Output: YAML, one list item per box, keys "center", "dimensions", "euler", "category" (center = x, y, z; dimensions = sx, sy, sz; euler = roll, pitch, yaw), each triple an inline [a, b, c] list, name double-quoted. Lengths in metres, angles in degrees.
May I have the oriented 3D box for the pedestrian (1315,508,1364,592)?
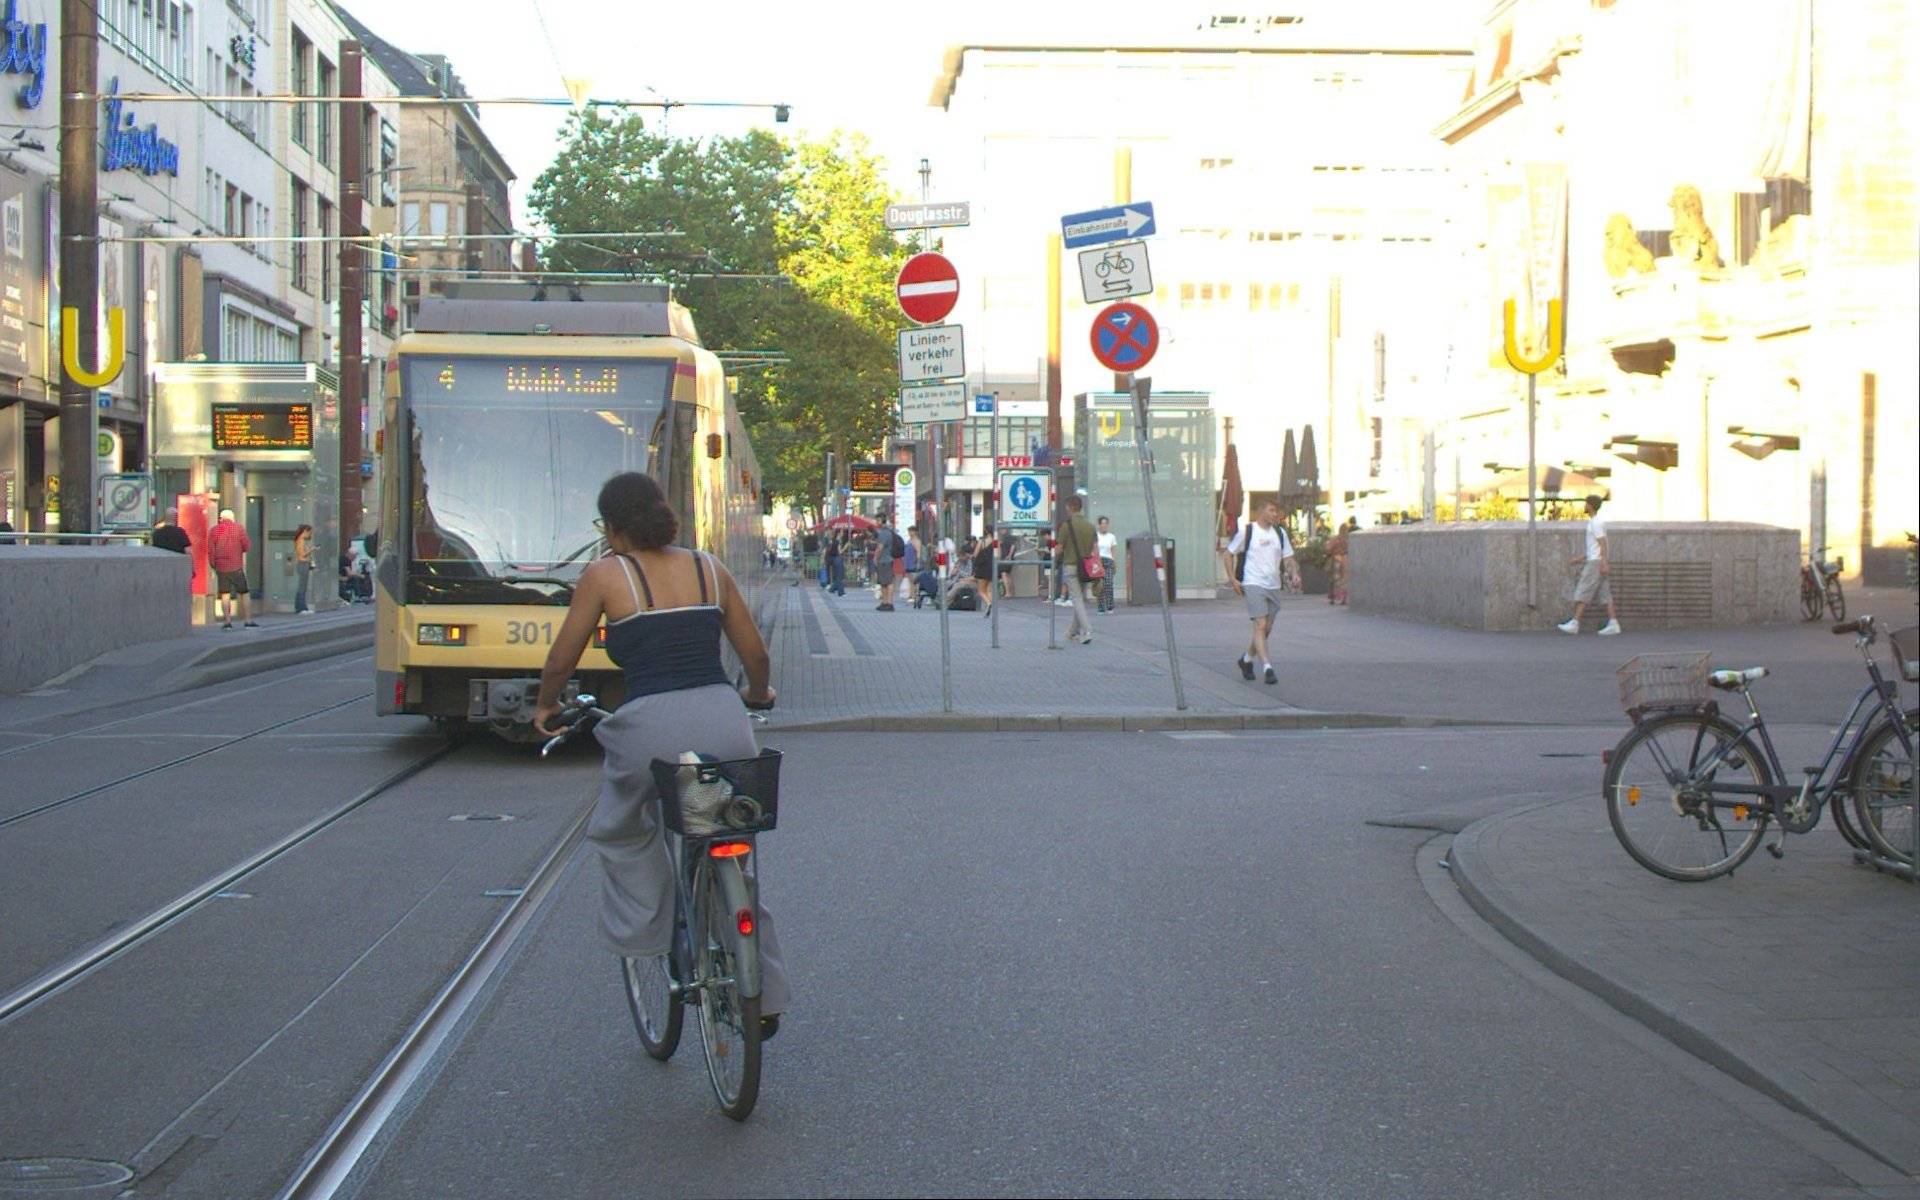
- center: [8.297, -1.089, 75.164]
  dimensions: [0.847, 1.817, 0.776]
  euler: [0, 1, -13]
  category: "pedestrian"

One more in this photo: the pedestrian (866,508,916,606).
- center: [-1.292, -0.803, 64.467]
  dimensions: [0.733, 1.817, 0.820]
  euler: [0, 1, -17]
  category: "pedestrian"

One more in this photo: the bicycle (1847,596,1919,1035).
- center: [3.850, 0.630, 10.746]
  dimensions: [1.914, 1.328, 0.726]
  euler: [-2, 1, -7]
  category: "bicycle"

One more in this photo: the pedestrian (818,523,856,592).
- center: [-3.007, -1.041, 84.010]
  dimensions: [0.767, 1.655, 0.794]
  euler: [0, 1, 9]
  category: "pedestrian"

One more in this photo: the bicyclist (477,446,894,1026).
- center: [-0.770, 0.354, 9.394]
  dimensions: [0.996, 1.497, 0.857]
  euler: [2, 1, -12]
  category: "bicyclist"

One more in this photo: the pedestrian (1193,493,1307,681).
- center: [2.919, -0.137, 34.691]
  dimensions: [1.013, 1.857, 1.043]
  euler: [1, 1, -1]
  category: "pedestrian"

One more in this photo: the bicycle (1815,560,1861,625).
- center: [12.124, -0.108, 47.493]
  dimensions: [0.315, 0.864, 1.000]
  euler: [-1, 1, -4]
  category: "bicycle"

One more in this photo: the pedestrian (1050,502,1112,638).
- center: [1.546, -0.378, 43.924]
  dimensions: [0.718, 1.719, 0.709]
  euler: [0, 0, -4]
  category: "pedestrian"

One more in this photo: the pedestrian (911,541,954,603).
- center: [-0.547, -0.552, 68.332]
  dimensions: [0.792, 1.217, 0.769]
  euler: [0, 1, -6]
  category: "pedestrian"

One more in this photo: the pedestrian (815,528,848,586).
- center: [-3.668, -1.226, 98.053]
  dimensions: [0.792, 1.655, 0.769]
  euler: [0, 1, 9]
  category: "pedestrian"

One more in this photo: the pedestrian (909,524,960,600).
- center: [-0.534, -0.804, 71.811]
  dimensions: [0.768, 1.573, 0.793]
  euler: [1, 1, 27]
  category: "pedestrian"

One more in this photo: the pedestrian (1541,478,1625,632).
- center: [8.215, -0.595, 45.366]
  dimensions: [0.914, 2.007, 0.773]
  euler: [1, 0, -1]
  category: "pedestrian"

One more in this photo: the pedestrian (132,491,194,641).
- center: [-10.291, -0.442, 44.422]
  dimensions: [0.713, 1.918, 0.709]
  euler: [0, 0, -7]
  category: "pedestrian"

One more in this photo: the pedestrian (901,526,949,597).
- center: [-0.777, -0.855, 75.917]
  dimensions: [0.768, 1.573, 0.793]
  euler: [1, 1, 27]
  category: "pedestrian"

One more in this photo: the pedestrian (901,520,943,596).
- center: [-0.828, -0.921, 75.729]
  dimensions: [0.792, 1.655, 0.769]
  euler: [0, 1, 9]
  category: "pedestrian"

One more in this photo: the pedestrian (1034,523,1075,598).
- center: [2.094, -0.879, 75.980]
  dimensions: [0.792, 1.655, 0.769]
  euler: [0, 1, 9]
  category: "pedestrian"

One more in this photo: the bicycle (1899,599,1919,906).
- center: [4.781, 0.581, 13.528]
  dimensions: [1.914, 1.218, 0.763]
  euler: [-2, 1, -7]
  category: "bicycle"

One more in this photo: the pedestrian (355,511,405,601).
- center: [-11.077, -0.834, 65.654]
  dimensions: [0.707, 1.719, 0.775]
  euler: [0, 0, -33]
  category: "pedestrian"

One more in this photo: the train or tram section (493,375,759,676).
- center: [-4.104, -0.973, 45.132]
  dimensions: [2.800, 3.308, 14.510]
  euler: [0, 1, -3]
  category: "train or tram section"

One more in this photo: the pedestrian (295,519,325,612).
- center: [-11.291, -0.598, 59.712]
  dimensions: [0.511, 1.612, 0.505]
  euler: [0, 0, -11]
  category: "pedestrian"

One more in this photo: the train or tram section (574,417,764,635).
- center: [-4.842, -1.279, 59.632]
  dimensions: [2.800, 3.308, 14.510]
  euler: [0, 1, -3]
  category: "train or tram section"

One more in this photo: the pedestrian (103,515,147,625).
- center: [-12.157, -0.437, 50.042]
  dimensions: [0.603, 1.583, 0.628]
  euler: [0, 0, -12]
  category: "pedestrian"

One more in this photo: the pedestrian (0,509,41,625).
- center: [-13.095, -0.450, 47.360]
  dimensions: [0.626, 1.583, 0.605]
  euler: [0, 0, -45]
  category: "pedestrian"

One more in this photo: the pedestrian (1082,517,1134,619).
- center: [2.685, -0.584, 62.381]
  dimensions: [0.773, 1.817, 0.940]
  euler: [-1, 1, -6]
  category: "pedestrian"

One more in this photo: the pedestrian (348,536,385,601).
- center: [-12.568, -0.660, 72.786]
  dimensions: [0.707, 1.374, 0.720]
  euler: [0, 0, -4]
  category: "pedestrian"

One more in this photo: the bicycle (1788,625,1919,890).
- center: [4.663, 0.663, 15.120]
  dimensions: [1.852, 1.105, 0.667]
  euler: [-1, 1, -5]
  category: "bicycle"

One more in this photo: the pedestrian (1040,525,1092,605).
- center: [2.234, -0.744, 72.557]
  dimensions: [0.767, 1.655, 0.794]
  euler: [-1, 1, -43]
  category: "pedestrian"

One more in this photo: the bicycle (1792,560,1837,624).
- center: [11.799, -0.113, 47.478]
  dimensions: [0.315, 0.864, 1.000]
  euler: [-1, 1, -4]
  category: "bicycle"

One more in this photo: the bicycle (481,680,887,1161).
- center: [-0.818, 0.814, 9.479]
  dimensions: [0.815, 1.069, 2.114]
  euler: [2, 1, -12]
  category: "bicycle"

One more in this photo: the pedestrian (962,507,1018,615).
- center: [0.506, -0.663, 58.423]
  dimensions: [0.733, 1.817, 0.820]
  euler: [0, 1, -17]
  category: "pedestrian"

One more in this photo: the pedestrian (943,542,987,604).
- center: [0.093, -0.533, 67.551]
  dimensions: [0.792, 1.217, 0.769]
  euler: [0, 1, -6]
  category: "pedestrian"

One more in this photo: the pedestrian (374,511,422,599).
- center: [-11.032, -0.878, 67.478]
  dimensions: [0.707, 1.719, 0.775]
  euler: [0, 0, -31]
  category: "pedestrian"

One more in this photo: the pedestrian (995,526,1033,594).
- center: [1.314, -0.980, 83.613]
  dimensions: [0.792, 1.655, 0.769]
  euler: [0, 1, 9]
  category: "pedestrian"

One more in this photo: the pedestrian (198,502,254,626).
- center: [-10.166, -0.497, 47.622]
  dimensions: [0.713, 1.692, 0.786]
  euler: [0, 0, -8]
  category: "pedestrian"

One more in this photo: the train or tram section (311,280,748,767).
- center: [-3.374, -0.667, 30.641]
  dimensions: [2.800, 3.308, 14.510]
  euler: [0, 1, -3]
  category: "train or tram section"

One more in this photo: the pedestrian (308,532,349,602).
- center: [-12.396, -0.648, 67.453]
  dimensions: [0.707, 1.374, 0.720]
  euler: [0, 0, -4]
  category: "pedestrian"

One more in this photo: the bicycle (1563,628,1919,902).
- center: [3.627, 0.697, 14.938]
  dimensions: [1.852, 1.105, 0.667]
  euler: [-1, 1, -5]
  category: "bicycle"

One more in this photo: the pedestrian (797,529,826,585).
- center: [-4.465, -1.302, 103.455]
  dimensions: [0.767, 1.655, 0.794]
  euler: [0, 1, 7]
  category: "pedestrian"
